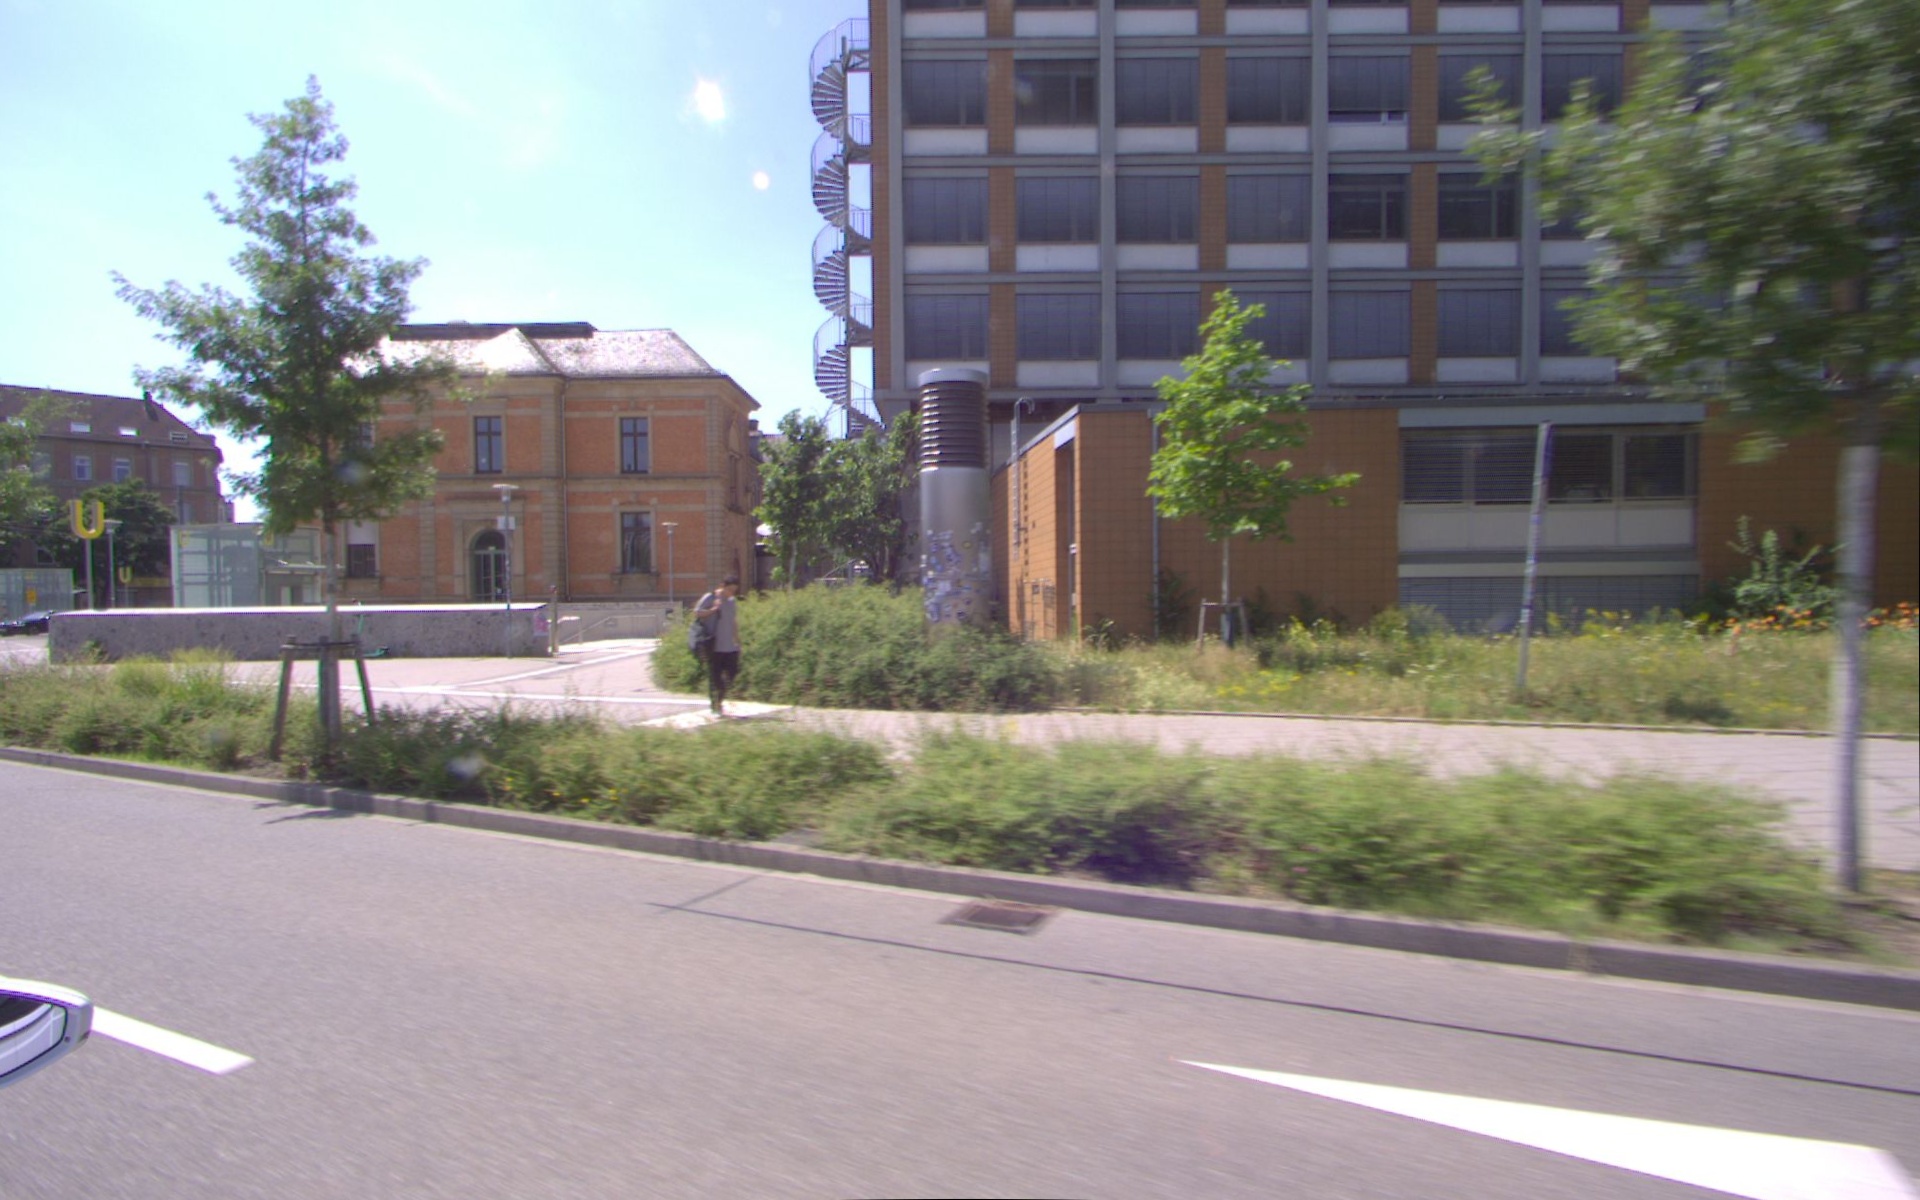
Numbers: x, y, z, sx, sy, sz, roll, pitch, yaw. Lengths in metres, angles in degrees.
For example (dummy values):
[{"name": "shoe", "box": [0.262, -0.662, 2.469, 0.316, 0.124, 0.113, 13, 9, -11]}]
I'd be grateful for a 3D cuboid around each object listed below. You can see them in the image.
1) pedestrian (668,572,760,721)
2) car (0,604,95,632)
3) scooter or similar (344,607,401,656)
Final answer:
[{"name": "pedestrian", "box": [-2.977, 0.542, 12.141, 0.799, 1.728, 0.731, 0, 0, 32]}, {"name": "car", "box": [-52.196, 1.006, 57.142, 1.665, 1.470, 4.112, 2, 0, 11]}, {"name": "scooter or similar", "box": [-14.831, 0.786, 25.292, 1.265, 1.183, 0.397, 2, 1, 8]}]
